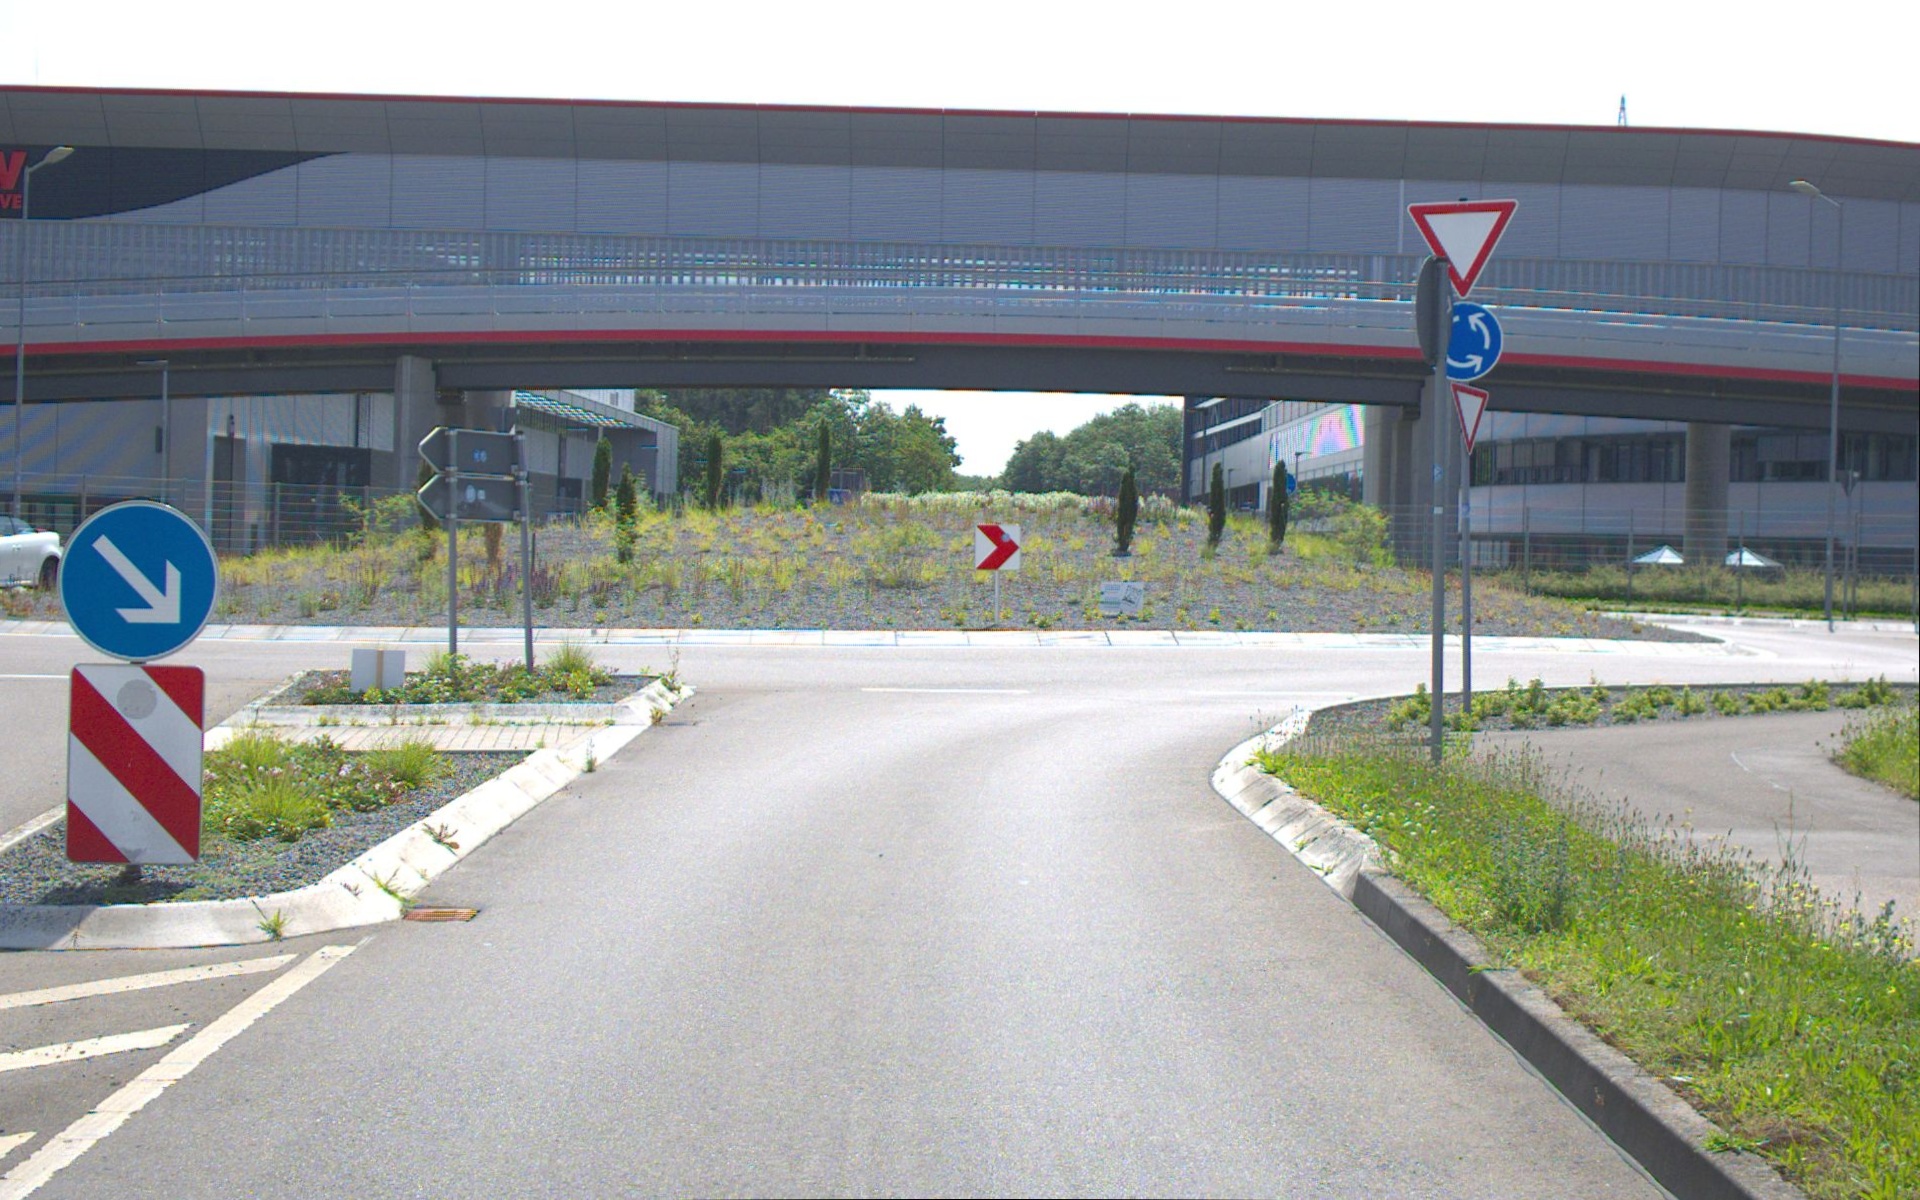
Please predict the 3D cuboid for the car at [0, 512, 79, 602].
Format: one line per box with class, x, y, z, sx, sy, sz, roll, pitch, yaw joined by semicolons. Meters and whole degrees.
car;-15.881;-0.688;54.516;1.771;1.423;4.048;1;1;19
